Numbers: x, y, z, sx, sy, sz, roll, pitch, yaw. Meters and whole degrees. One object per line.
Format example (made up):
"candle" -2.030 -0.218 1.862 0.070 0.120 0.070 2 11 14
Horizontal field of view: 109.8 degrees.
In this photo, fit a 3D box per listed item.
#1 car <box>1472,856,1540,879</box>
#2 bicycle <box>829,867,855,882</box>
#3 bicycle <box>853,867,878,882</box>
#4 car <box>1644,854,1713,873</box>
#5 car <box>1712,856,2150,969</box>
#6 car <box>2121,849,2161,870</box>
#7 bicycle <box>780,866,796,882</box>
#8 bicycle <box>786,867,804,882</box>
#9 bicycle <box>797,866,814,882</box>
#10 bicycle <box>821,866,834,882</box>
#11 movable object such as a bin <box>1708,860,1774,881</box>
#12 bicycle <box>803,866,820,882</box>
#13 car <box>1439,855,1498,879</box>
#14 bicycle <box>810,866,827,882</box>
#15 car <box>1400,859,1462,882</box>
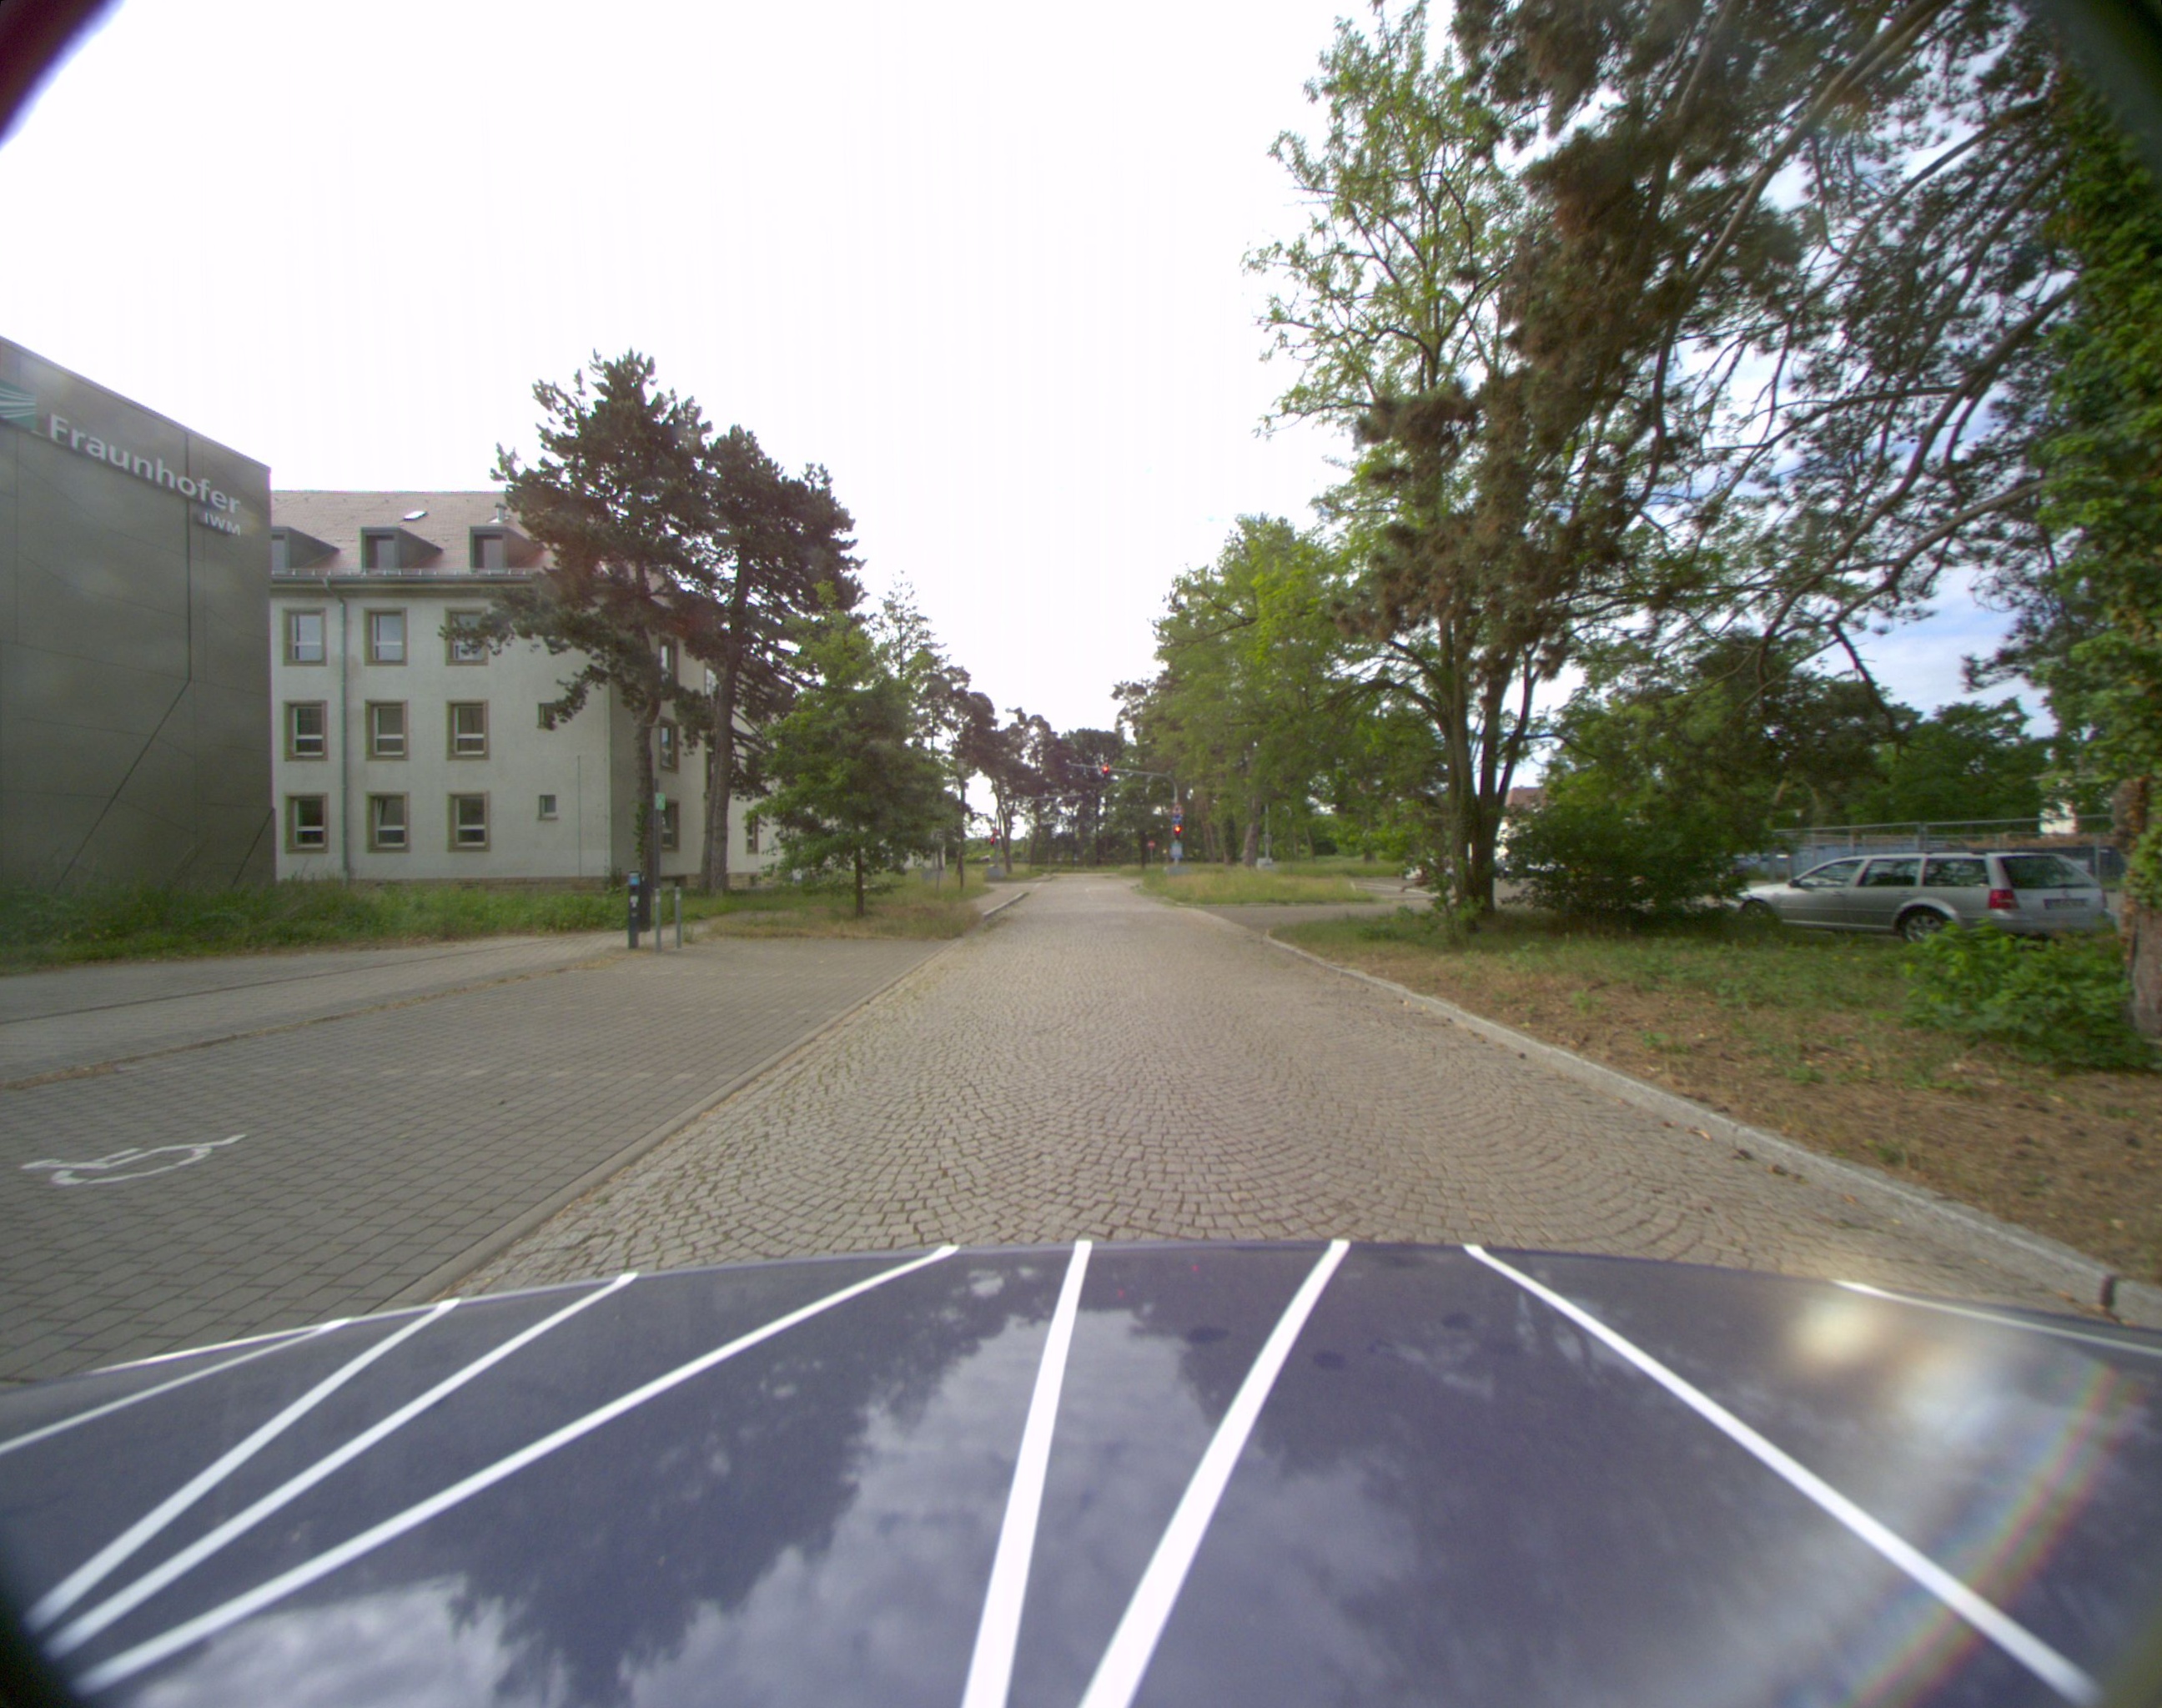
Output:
"car" 27.870 0.869 49.990 1.829 1.466 4.401 -1 0 -3
"bicycle" -17.419 1.509 55.410 1.655 1.079 0.615 -1 0 2
"bicycle" -15.721 1.492 55.569 1.656 1.079 0.614 -1 0 -4
"car" 48.122 0.732 61.291 1.830 1.466 4.400 -1 0 -5
"car" 12.786 0.771 11.988 1.829 1.408 4.420 2 0 -3
"car" 87.684 0.455 61.241 1.828 1.712 4.585 -1 0 8
"bicycle" -21.936 1.487 56.855 0.448 1.121 1.731 -1 0 3
"bicycle" -21.386 1.536 56.815 0.447 1.121 1.732 -1 0 8
"bicycle" -20.594 1.503 56.871 0.447 1.121 1.732 -1 0 8
"bicycle" -19.001 1.498 57.030 0.476 1.121 1.656 -1 0 -1
"movable object such as a bin" 32.061 0.796 36.960 1.448 0.963 1.957 -1 0 -8
"bicycle" -20.117 1.484 56.810 0.447 1.121 1.703 -1 0 8
"car" 25.224 0.894 49.550 1.674 1.510 3.899 -1 -2 -3
"bicycle" -19.623 1.491 56.791 0.476 1.121 1.704 -1 0 8
"car" 22.718 1.022 49.476 1.829 1.417 4.319 -1 0 -3
